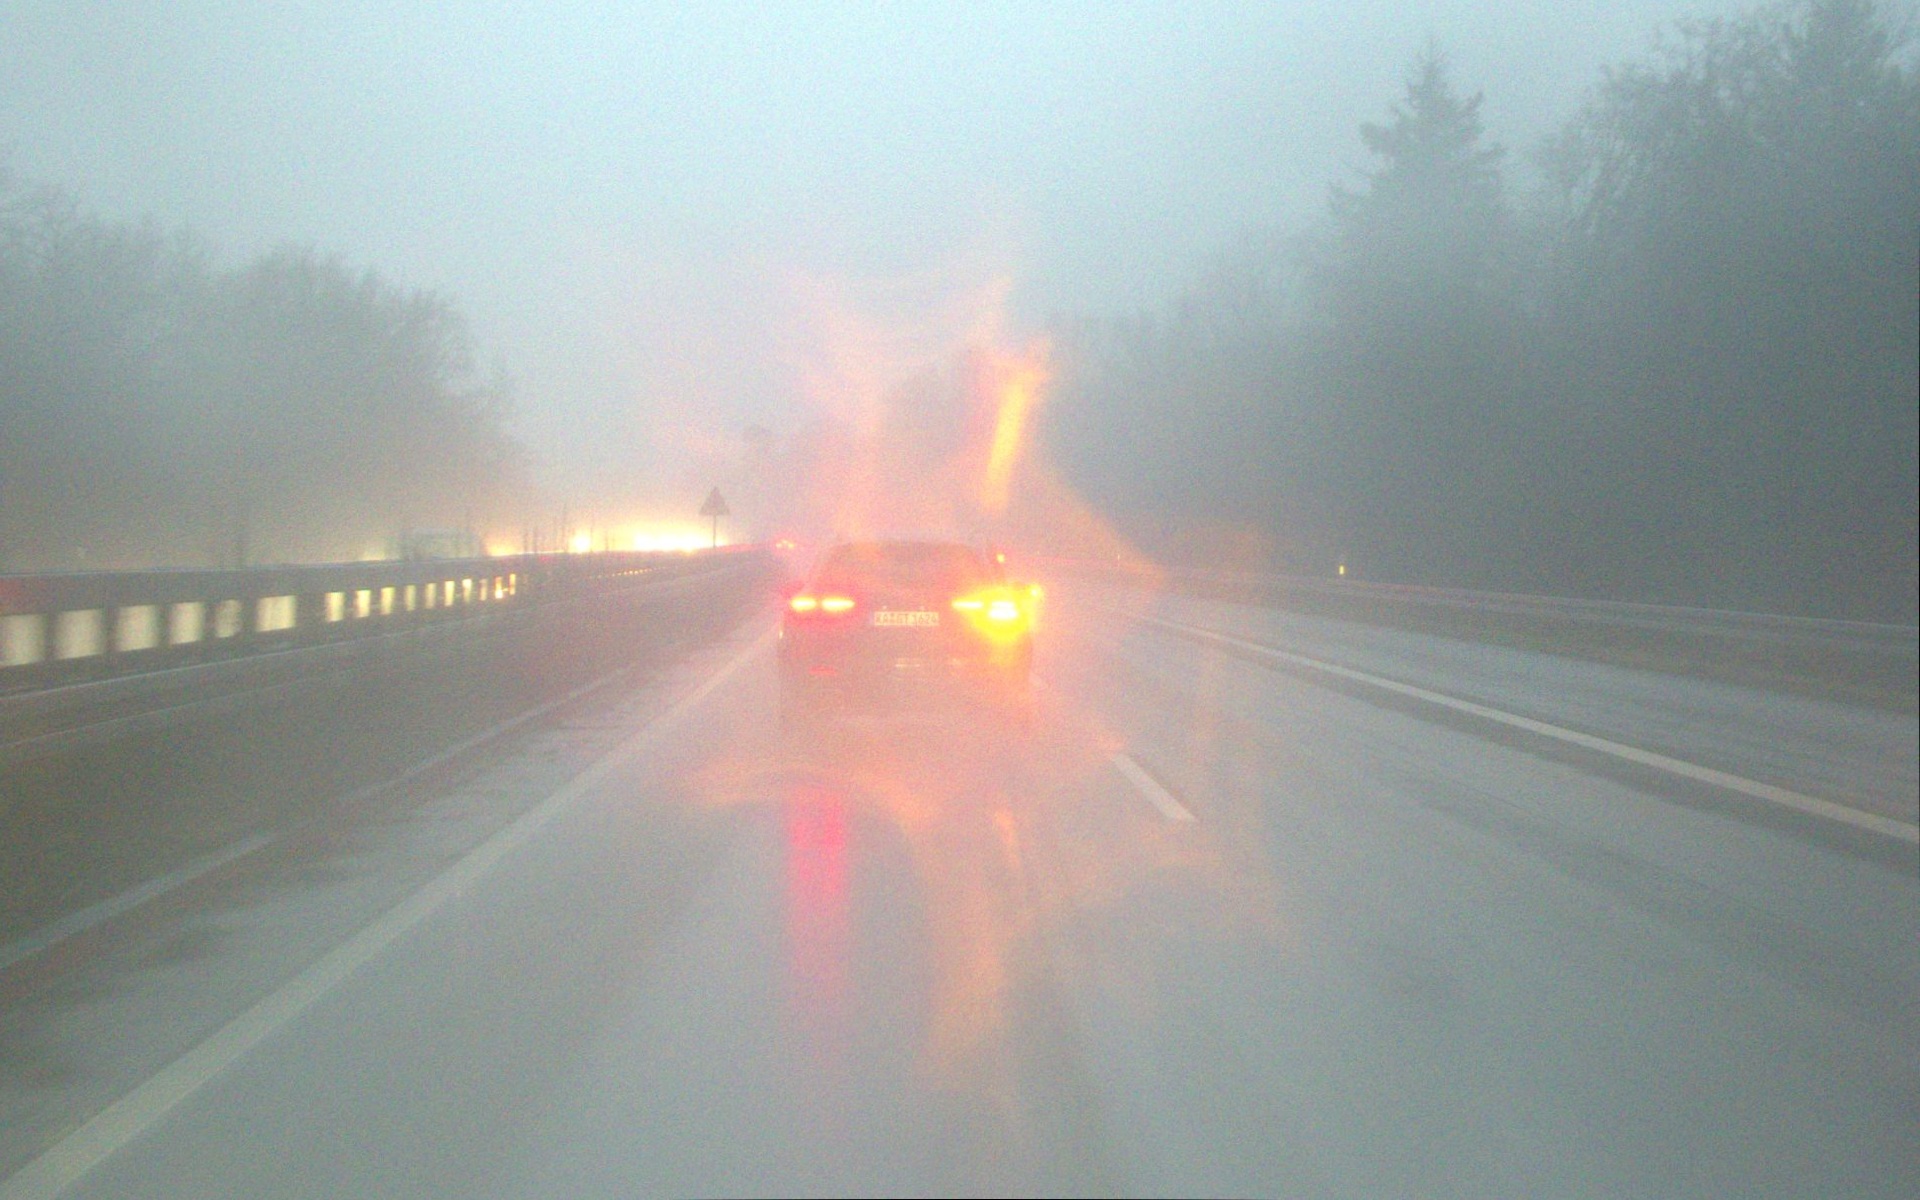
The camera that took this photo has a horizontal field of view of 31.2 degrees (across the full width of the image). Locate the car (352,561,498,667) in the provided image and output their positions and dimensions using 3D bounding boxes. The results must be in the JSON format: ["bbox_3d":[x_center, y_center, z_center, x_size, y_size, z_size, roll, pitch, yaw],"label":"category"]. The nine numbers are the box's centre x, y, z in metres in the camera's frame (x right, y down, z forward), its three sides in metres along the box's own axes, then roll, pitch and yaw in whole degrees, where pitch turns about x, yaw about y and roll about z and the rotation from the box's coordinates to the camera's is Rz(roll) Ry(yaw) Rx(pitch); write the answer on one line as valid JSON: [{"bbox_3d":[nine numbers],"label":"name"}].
[{"bbox_3d":[-9.094,0.244,58.718,1.823,1.665,4.000,3,0,0],"label":"car"}]

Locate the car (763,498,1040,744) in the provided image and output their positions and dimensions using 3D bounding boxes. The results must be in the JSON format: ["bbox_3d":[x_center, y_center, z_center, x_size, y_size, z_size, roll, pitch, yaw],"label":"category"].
[{"bbox_3d":[-0.485,0.111,26.925,1.986,1.761,4.174,1,1,-2],"label":"car"}]

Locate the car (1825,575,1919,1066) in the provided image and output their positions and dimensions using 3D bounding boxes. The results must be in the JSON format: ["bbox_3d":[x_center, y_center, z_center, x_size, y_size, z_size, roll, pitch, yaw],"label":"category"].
[{"bbox_3d":[3.722,0.675,9.422,1.780,1.432,3.537,1,1,0],"label":"car"}]
